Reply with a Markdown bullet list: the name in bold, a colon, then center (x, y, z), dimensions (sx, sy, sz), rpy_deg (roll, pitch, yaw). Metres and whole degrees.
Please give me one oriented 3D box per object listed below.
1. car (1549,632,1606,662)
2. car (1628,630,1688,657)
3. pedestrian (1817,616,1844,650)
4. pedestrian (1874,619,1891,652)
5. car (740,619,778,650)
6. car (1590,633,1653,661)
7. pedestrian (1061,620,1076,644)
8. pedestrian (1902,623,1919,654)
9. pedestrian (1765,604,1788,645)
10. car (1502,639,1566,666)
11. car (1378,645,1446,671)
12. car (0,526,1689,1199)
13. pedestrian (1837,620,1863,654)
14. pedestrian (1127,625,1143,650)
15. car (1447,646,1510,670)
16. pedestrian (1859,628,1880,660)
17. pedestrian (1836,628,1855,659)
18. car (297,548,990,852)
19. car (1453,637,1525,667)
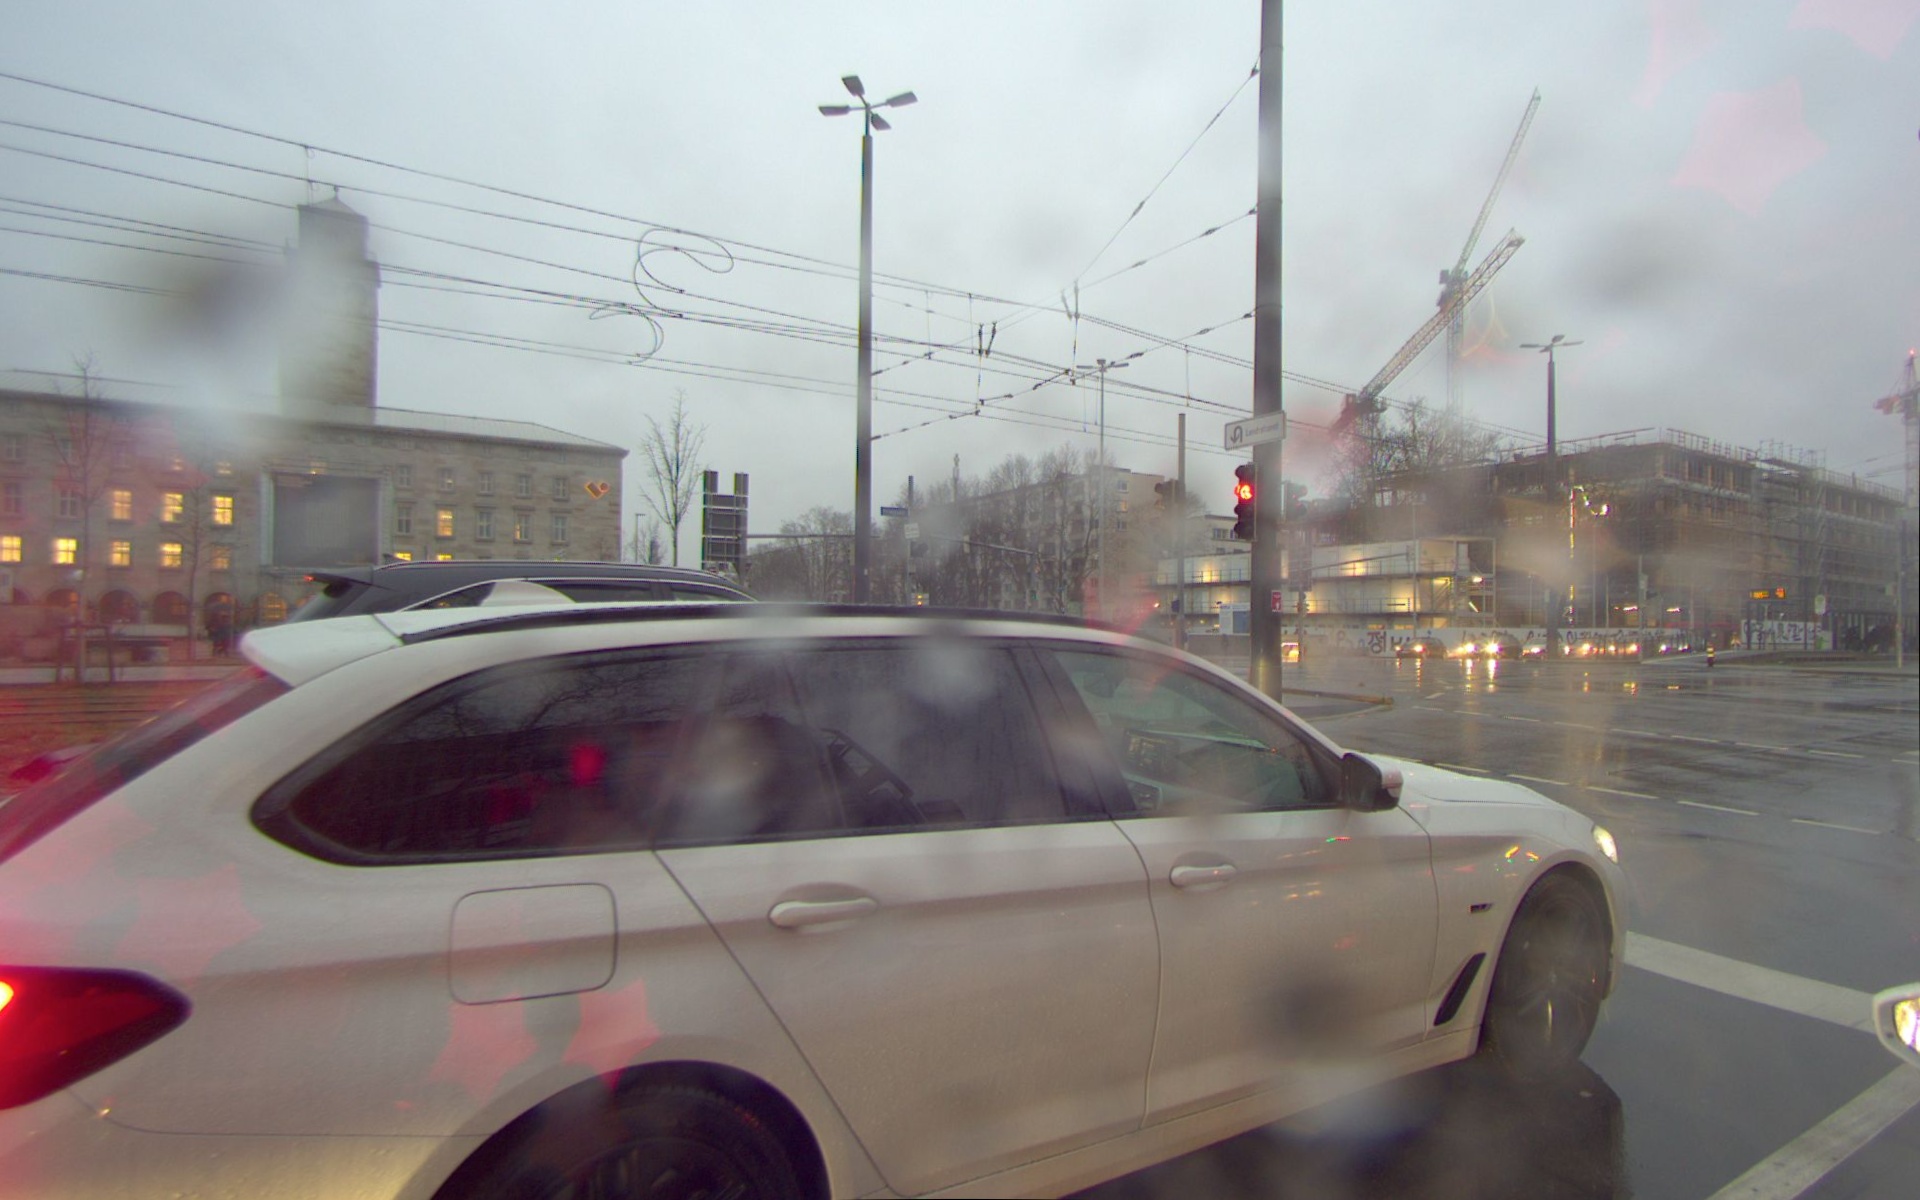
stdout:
- **car**: center (40.863, 3.119, 66.443), dimensions (3.963, 1.852, 1.852), rpy_deg (2, 0, -37)
- **car**: center (50.703, 3.157, 72.972), dimensions (3.949, 1.814, 1.986), rpy_deg (2, 0, -28)
- **pedestrian**: center (53.279, 2.005, 61.471), dimensions (1.081, 2.040, 0.938), rpy_deg (2, 0, -29)
- **pedestrian**: center (57.897, 2.219, 63.051), dimensions (0.659, 1.994, 0.566), rpy_deg (2, 1, -36)
- **car**: center (-16.076, 2.721, 80.075), dimensions (2.031, 2.454, 4.734), rpy_deg (1, -1, -24)
- **car**: center (46.097, 3.261, 69.966), dimensions (3.949, 1.814, 1.986), rpy_deg (2, 0, -28)
- **pedestrian**: center (9.049, 2.673, 83.857), dimensions (0.810, 1.959, 0.916), rpy_deg (2, 0, -36)
- **pedestrian**: center (66.102, 2.670, 69.705), dimensions (1.085, 2.040, 0.934), rpy_deg (2, 0, -40)
- **pedestrian**: center (47.155, 1.415, 57.986), dimensions (0.754, 2.354, 0.761), rpy_deg (3, -1, -30)
- **car**: center (35.847, 3.259, 62.697), dimensions (4.577, 1.550, 2.059), rpy_deg (2, -2, -40)
- **car**: center (28.329, 3.639, 62.951), dimensions (3.953, 1.550, 1.984), rpy_deg (2, -2, -30)
- **car**: center (0.073, 0.732, 3.149), dimensions (4.508, 1.506, 2.007), rpy_deg (2, -2, -31)
- **pedestrian**: center (55.576, 2.314, 62.748), dimensions (1.082, 2.040, 0.936), rpy_deg (2, 0, -33)
- **pedestrian**: center (13.644, 2.914, 78.237), dimensions (0.810, 1.959, 0.916), rpy_deg (2, 0, -36)
- **car**: center (34.796, 3.865, 67.457), dimensions (3.953, 1.550, 1.984), rpy_deg (2, -2, -30)
- **pedestrian**: center (56.820, 2.743, 62.759), dimensions (0.754, 1.922, 0.761), rpy_deg (3, -1, -30)
- **pedestrian**: center (54.379, 2.673, 61.699), dimensions (0.547, 1.906, 0.695), rpy_deg (2, 0, -30)
- **car**: center (-2.100, 0.604, 7.211), dimensions (4.238, 1.605, 1.958), rpy_deg (2, -1, -29)
- **car**: center (31.066, 3.052, 58.994), dimensions (3.953, 1.679, 1.984), rpy_deg (2, -2, -30)
